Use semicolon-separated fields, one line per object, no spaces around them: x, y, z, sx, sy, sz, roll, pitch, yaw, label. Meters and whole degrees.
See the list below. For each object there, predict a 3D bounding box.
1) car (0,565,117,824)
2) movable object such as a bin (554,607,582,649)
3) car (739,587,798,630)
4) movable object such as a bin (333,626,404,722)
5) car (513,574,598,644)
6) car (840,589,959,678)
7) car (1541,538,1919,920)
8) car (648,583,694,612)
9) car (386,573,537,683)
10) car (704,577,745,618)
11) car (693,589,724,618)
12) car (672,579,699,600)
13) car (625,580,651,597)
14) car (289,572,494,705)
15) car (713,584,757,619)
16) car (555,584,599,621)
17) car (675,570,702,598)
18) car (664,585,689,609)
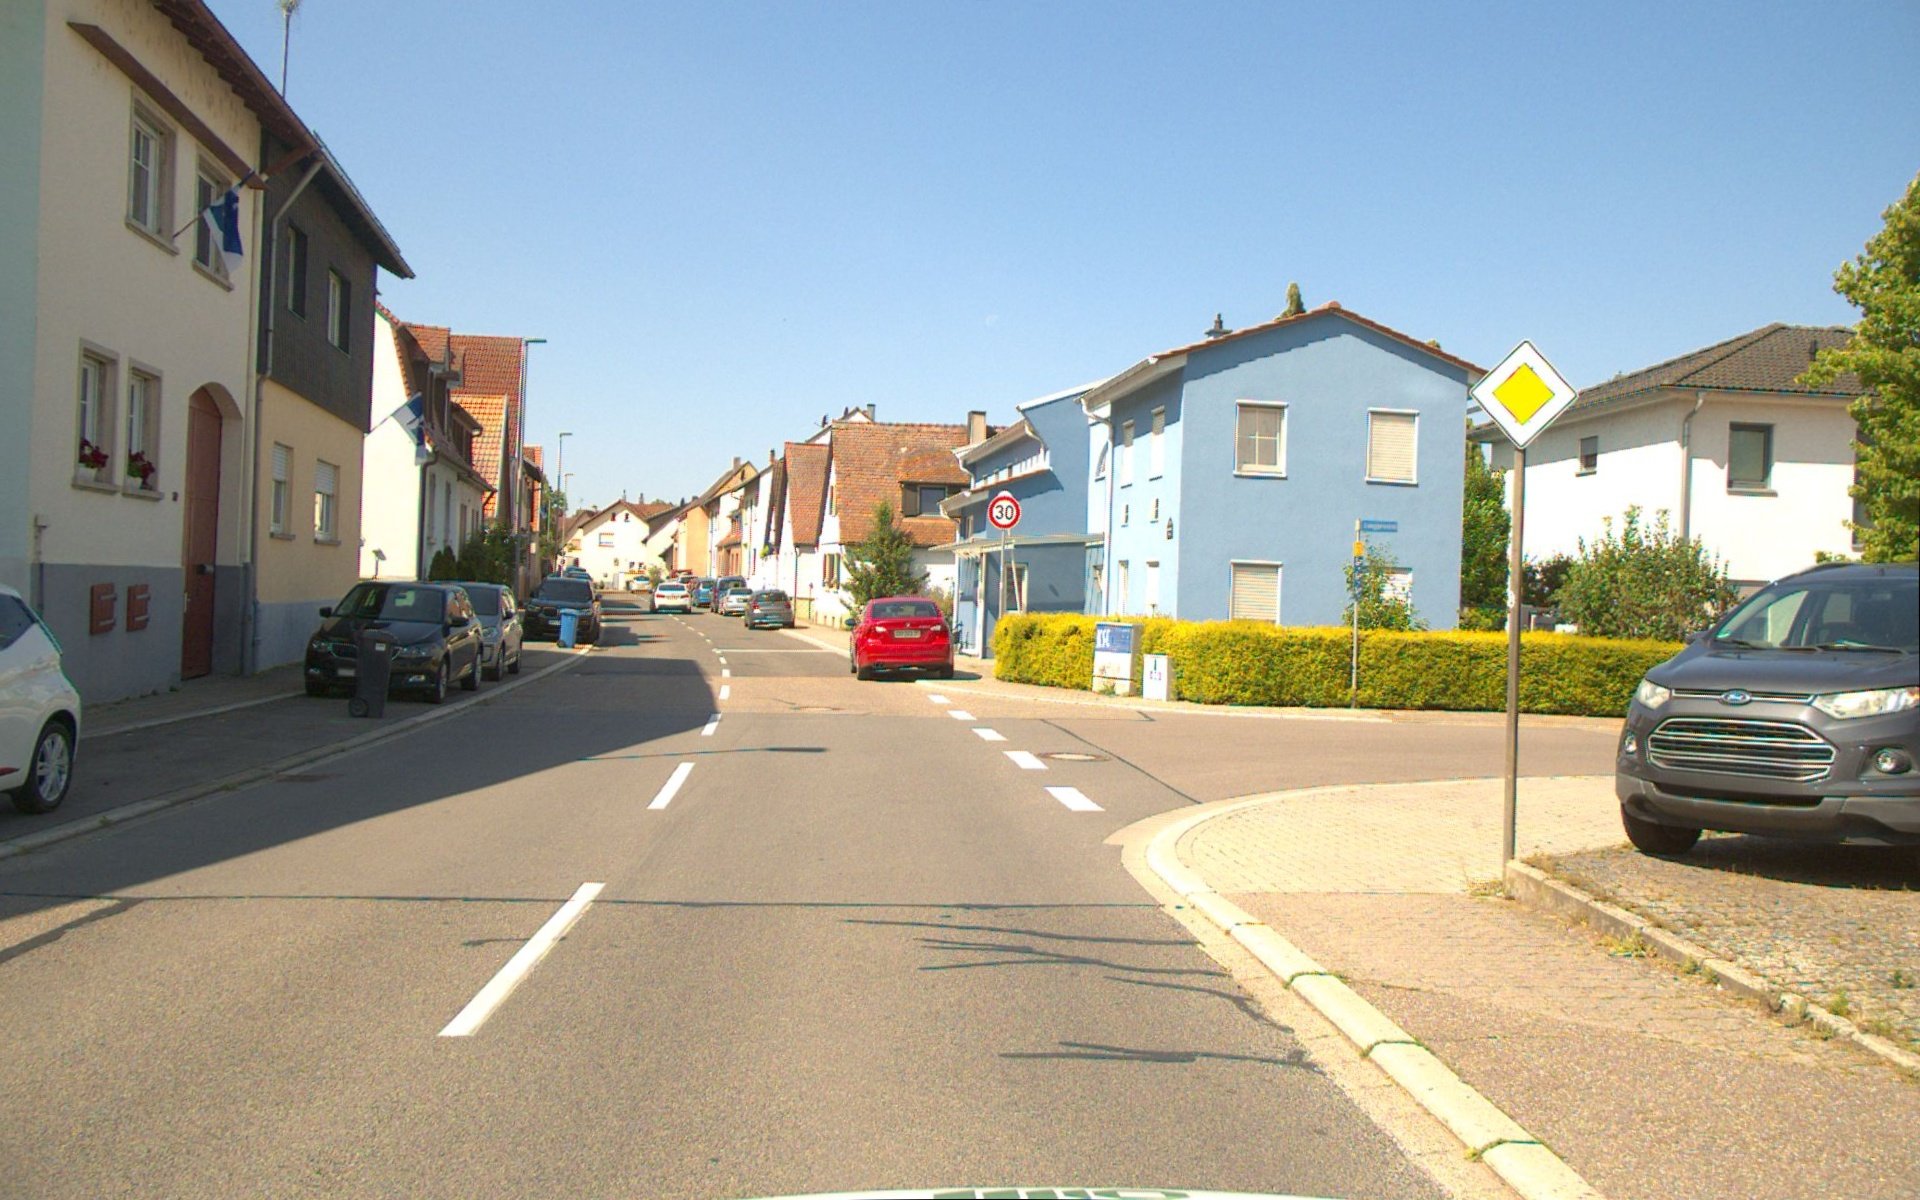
-6.281;0.511;9.027;1.651;1.487;3.646;2;0;-5;car
-9.701;0.693;40.950;0.586;0.999;0.529;3;0;-11;movable object such as a bin
-7.184;0.297;61.706;1.675;1.458;3.876;3;0;-13;car
-6.406;0.791;17.953;0.542;0.944;0.823;6;0;-13;movable object such as a bin
-11.124;0.230;45.743;1.885;1.696;4.654;4;-1;-10;car
-1.190;0.571;30.491;1.700;1.520;4.346;0;0;-9;car
5.197;0.574;9.272;4.073;1.682;1.806;1;0;-39;car
-14.073;-0.140;80.319;1.959;1.310;3.987;1;0;-13;car
-8.004;0.428;26.863;1.610;1.527;3.775;5;-1;-7;car
-11.813;-0.152;82.938;1.621;1.943;3.613;3;0;-14;car
-14.244;0.162;93.524;1.396;1.541;3.292;3;0;-13;car
-19.755;-0.737;118.860;1.736;1.458;3.439;1;0;-12;car
-26.168;-0.923;134.392;1.959;1.310;3.791;1;0;-13;car
-7.362;0.462;21.786;1.647;1.462;3.989;5;-1;-7;car
-10.631;0.075;77.870;1.675;1.523;3.440;3;0;-14;car
-17.711;0.100;76.619;1.774;1.574;4.391;3;0;-12;car
-20.311;-1.169;123.623;1.736;2.039;3.439;1;0;-12;car
-18.978;-0.220;110.769;1.396;1.541;3.292;3;0;-13;car
